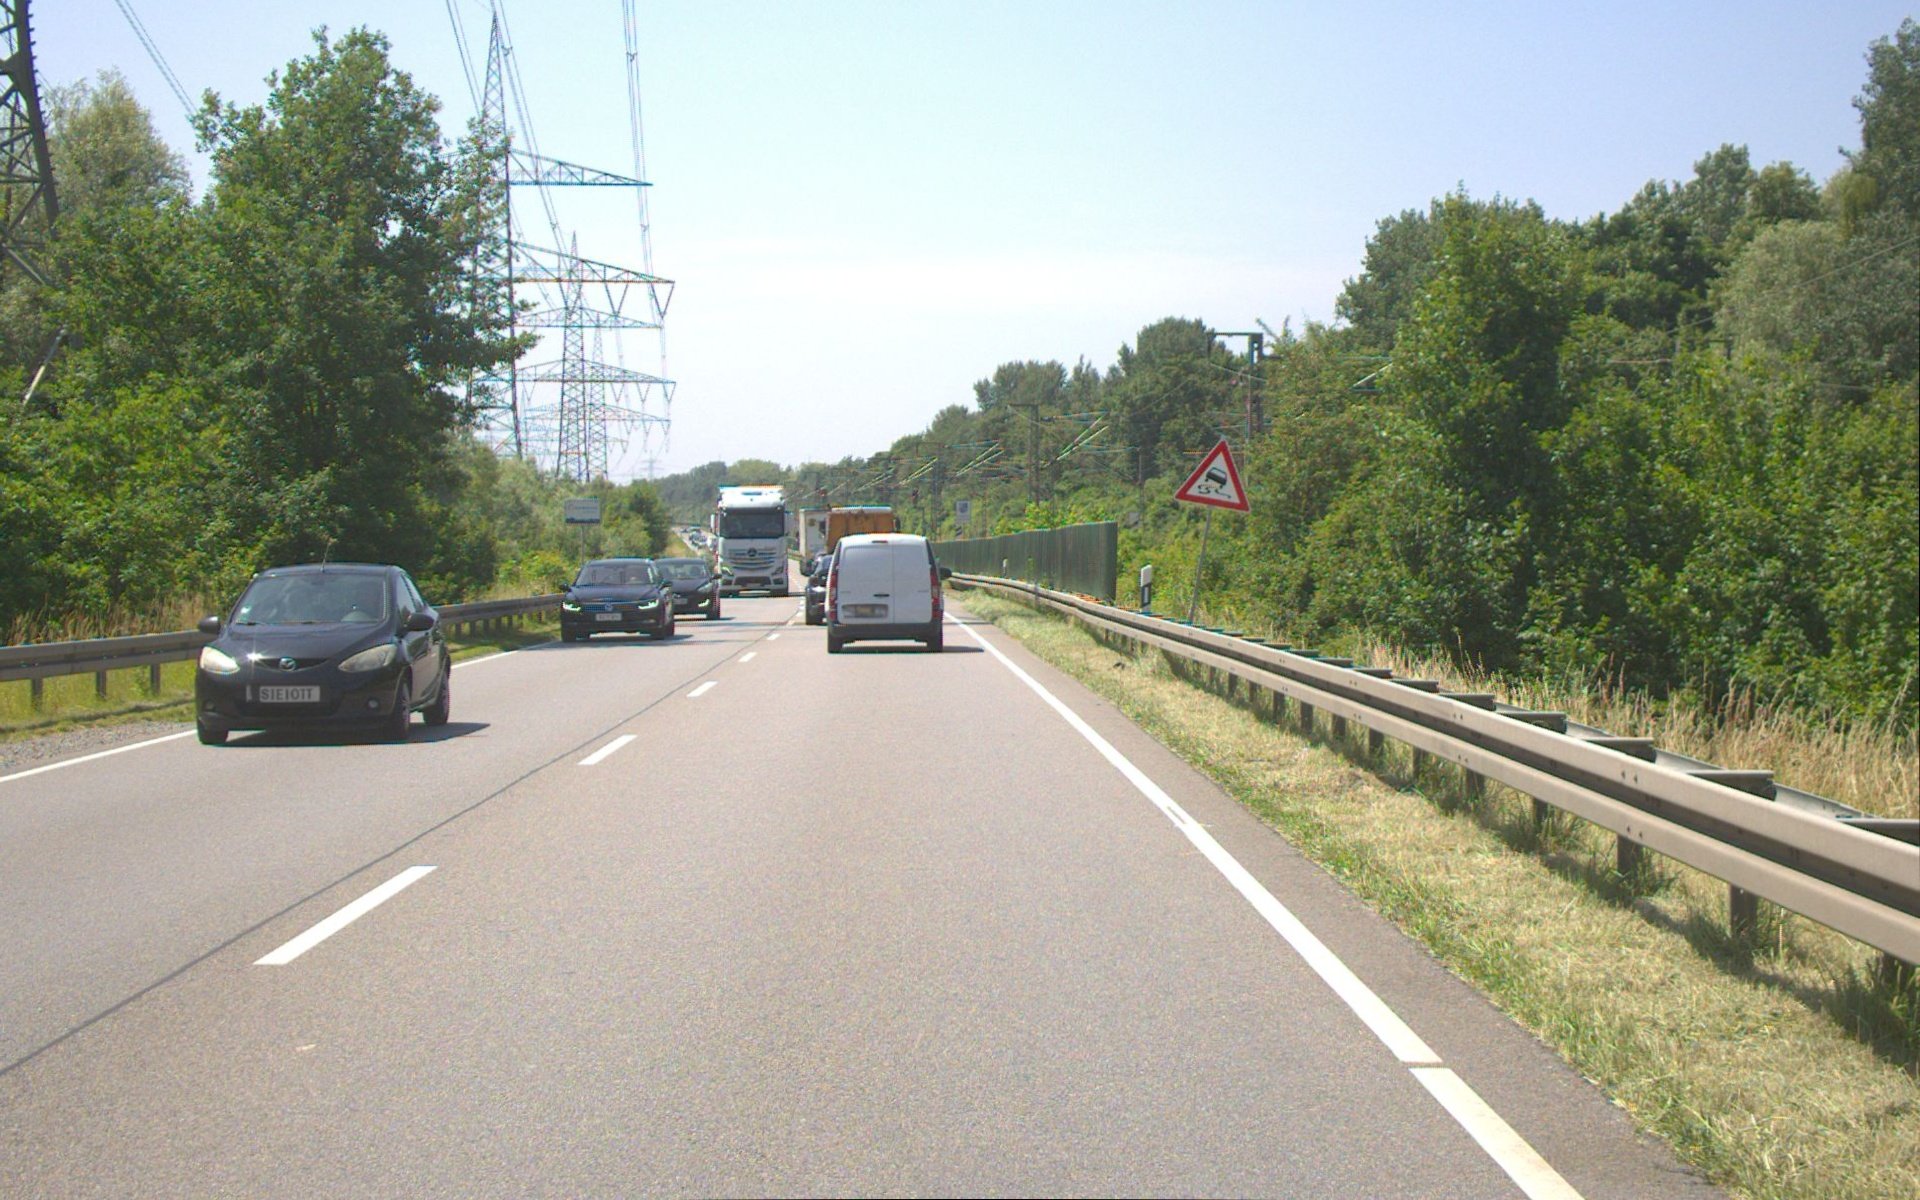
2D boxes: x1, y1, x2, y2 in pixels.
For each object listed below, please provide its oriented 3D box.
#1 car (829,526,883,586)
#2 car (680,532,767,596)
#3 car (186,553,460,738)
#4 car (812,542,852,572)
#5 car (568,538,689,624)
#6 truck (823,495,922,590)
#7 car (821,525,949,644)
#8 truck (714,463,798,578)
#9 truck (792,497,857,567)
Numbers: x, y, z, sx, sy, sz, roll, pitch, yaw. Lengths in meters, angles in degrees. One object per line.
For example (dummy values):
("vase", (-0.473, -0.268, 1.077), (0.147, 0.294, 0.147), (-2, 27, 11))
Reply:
("car", (-3.579, -1.524, 117.896), (1.763, 2.007, 4.001), (-1, 1, -3))
("car", (-5.557, -0.867, 81.154), (1.801, 1.449, 4.000), (-1, 1, -1))
("car", (-5.299, 0.327, 29.072), (1.633, 1.432, 4.415), (-1, 1, -2))
("car", (-6.633, -2.250, 178.029), (1.993, 1.521, 4.000), (-1, 1, -2))
("car", (-5.970, -0.362, 62.222), (1.845, 1.492, 4.000), (0, 1, -1))
("truck", (-3.390, -2.269, 129.520), (3.296, 3.161, 14.407), (2, 2, -3))
("car", (-1.135, -0.268, 52.809), (1.875, 1.735, 4.000), (-1, 1, -1))
("truck", (-7.496, -2.927, 127.311), (2.742, 4.028, 9.665), (-1, 1, -2))
("truck", (-8.381, -4.249, 210.162), (3.402, 3.841, 16.821), (2, 2, -4))
